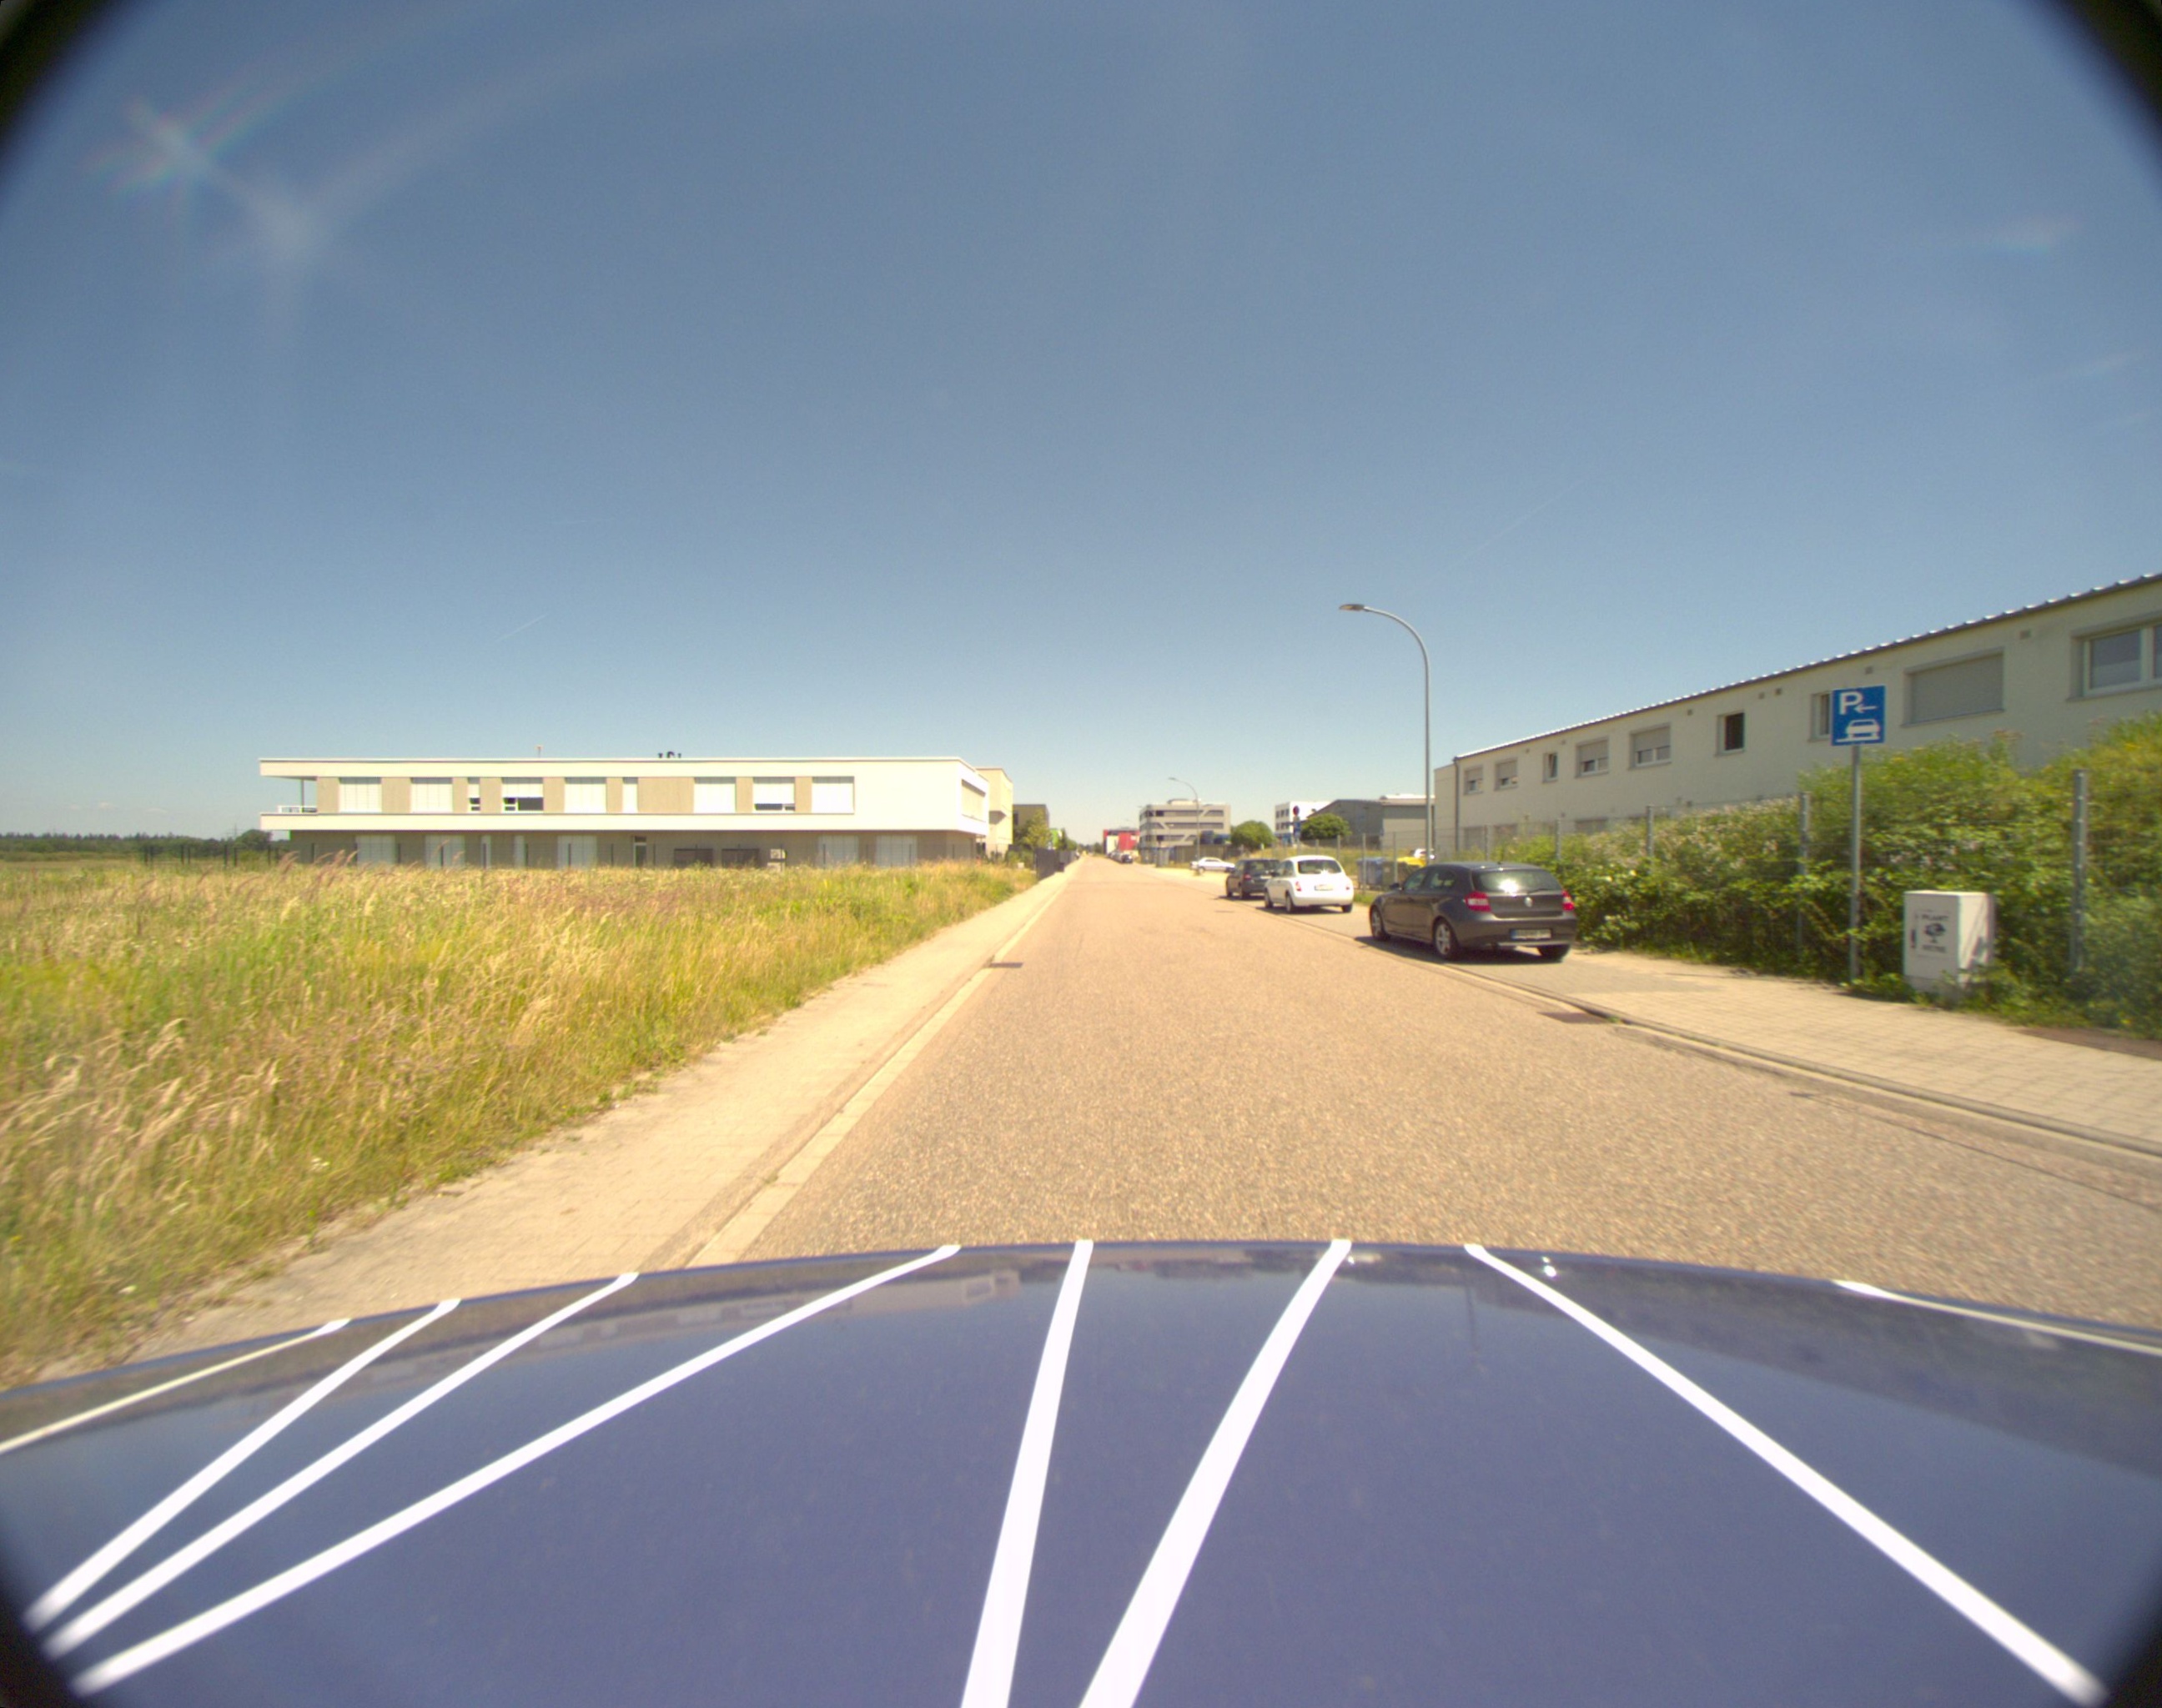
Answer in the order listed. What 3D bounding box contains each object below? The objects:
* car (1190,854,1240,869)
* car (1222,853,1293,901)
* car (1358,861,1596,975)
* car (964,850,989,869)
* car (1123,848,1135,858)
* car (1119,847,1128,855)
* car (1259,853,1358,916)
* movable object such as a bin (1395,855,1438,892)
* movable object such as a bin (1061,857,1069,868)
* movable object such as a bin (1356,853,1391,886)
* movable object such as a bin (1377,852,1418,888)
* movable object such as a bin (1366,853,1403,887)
[{"bbox_3d":[12.230,0.693,69.625,4.257,1.371,1.862,0,1,2],"label":"car"},{"bbox_3d":[6.316,0.762,27.620,1.678,1.521,3.909,-1,1,1],"label":"car"},{"bbox_3d":[5.954,0.855,12.036,1.678,1.442,4.069,-1,0,1],"label":"car"},{"bbox_3d":[-8.788,0.458,63.922,1.673,1.548,4.078,0,-1,-2],"label":"car"},{"bbox_3d":[7.680,-0.140,122.707,1.695,1.481,3.660,-2,1,1],"label":"car"},{"bbox_3d":[8.509,-0.628,153.861,1.659,1.573,3.777,-2,1,1],"label":"car"},{"bbox_3d":[6.251,0.768,21.259,1.678,1.521,3.757,-1,1,1],"label":"car"},{"bbox_3d":[13.336,0.746,30.267,1.145,1.397,1.388,-1,1,3],"label":"movable object such as a bin"},{"bbox_3d":[-1.599,0.878,75.493,0.749,1.042,0.698,1,1,1],"label":"movable object such as a bin"},{"bbox_3d":[13.385,0.692,34.825,1.146,1.440,1.434,-1,1,3],"label":"movable object such as a bin"},{"bbox_3d":[13.244,0.656,31.827,1.090,1.440,1.388,-1,1,-4],"label":"movable object such as a bin"},{"bbox_3d":[13.265,0.691,33.291,1.127,1.440,1.371,-1,1,3],"label":"movable object such as a bin"}]
